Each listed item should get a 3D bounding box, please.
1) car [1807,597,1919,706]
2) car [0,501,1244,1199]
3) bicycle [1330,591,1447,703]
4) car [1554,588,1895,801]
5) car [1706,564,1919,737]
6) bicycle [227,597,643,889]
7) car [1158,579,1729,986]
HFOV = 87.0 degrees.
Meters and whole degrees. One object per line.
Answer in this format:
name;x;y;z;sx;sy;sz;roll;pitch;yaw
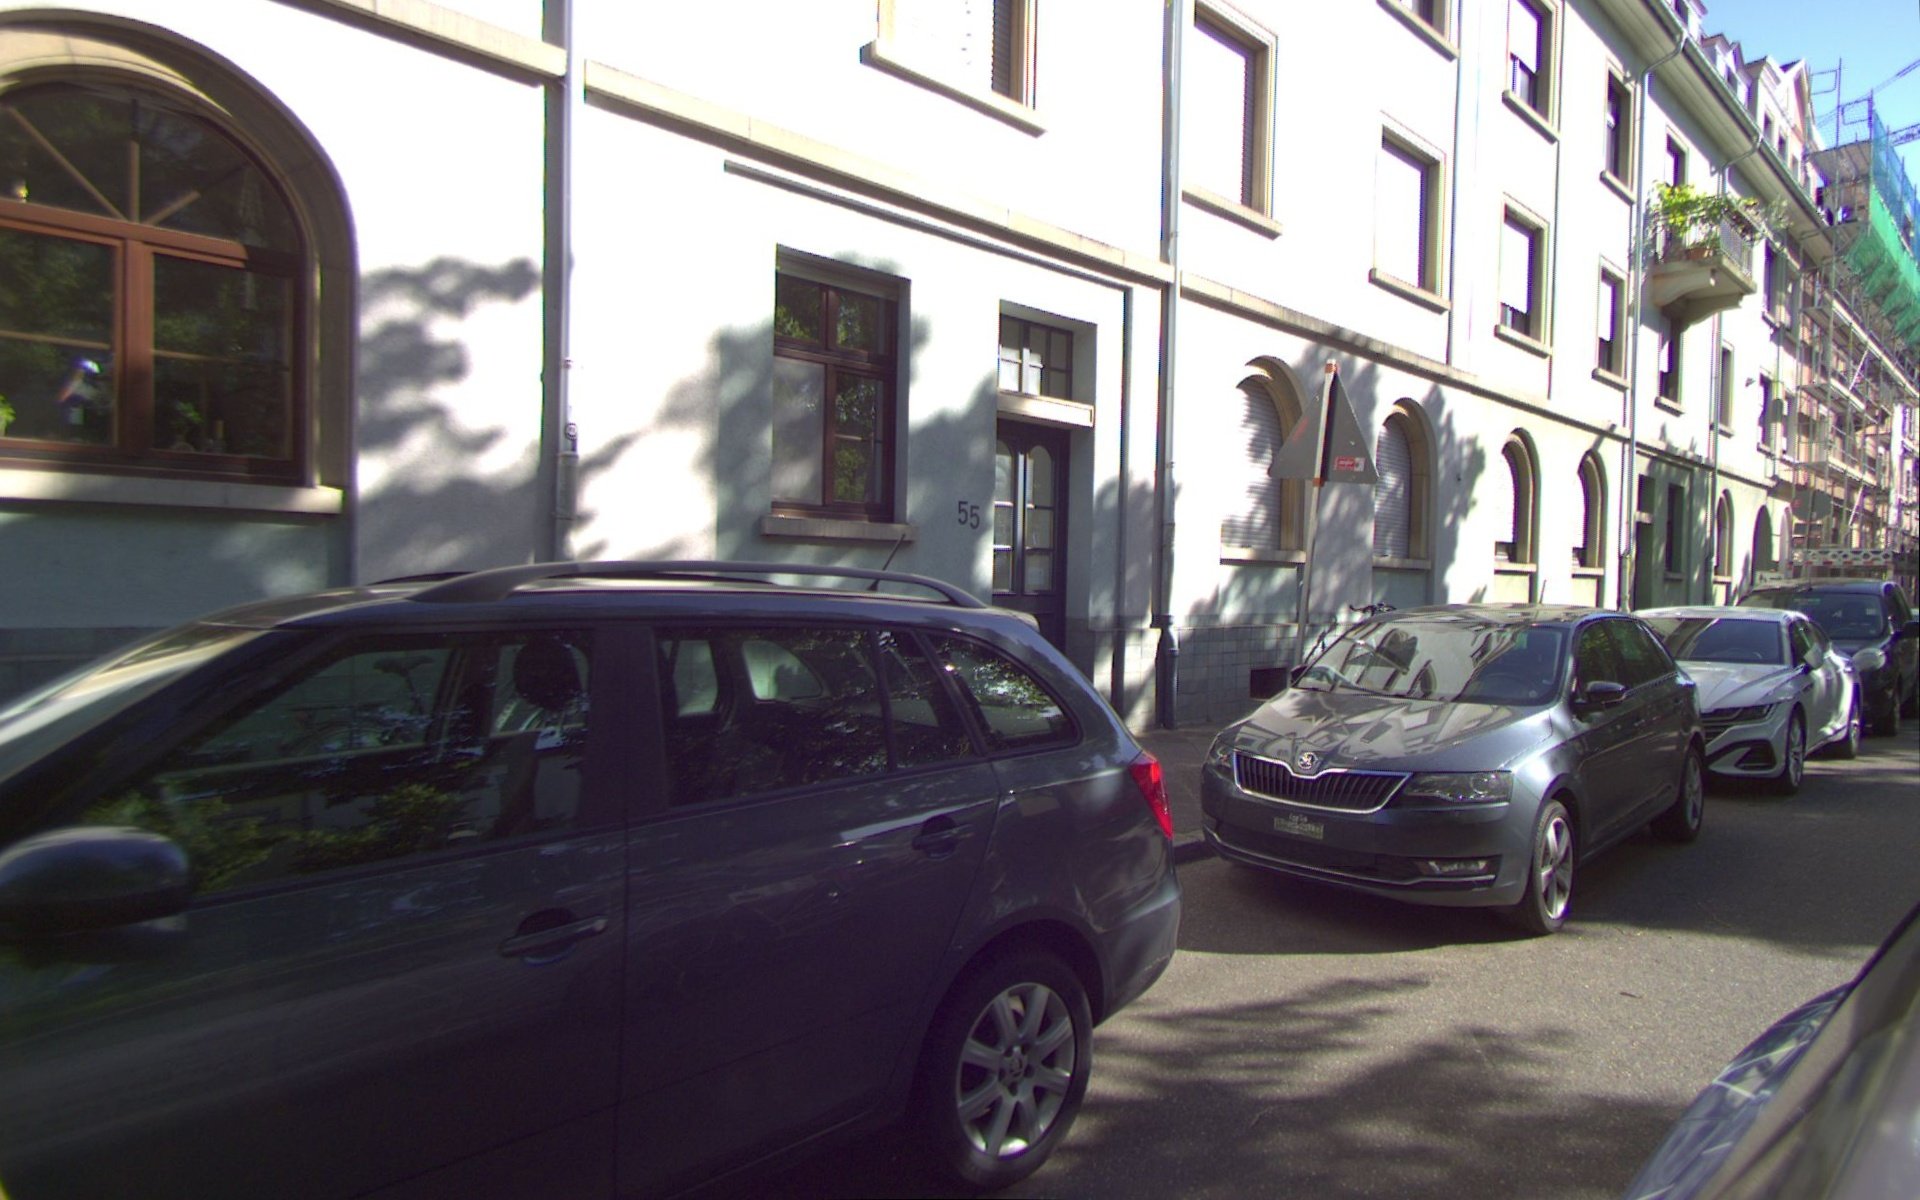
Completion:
car;15.304;0.749;16.410;4.208;1.530;1.708;0;2;-41
car;-1.186;0.639;2.366;3.969;1.570;1.584;0;1;-40
bicycle;4.949;0.499;11.611;1.948;1.196;0.395;0;1;-41
car;7.093;0.650;9.197;4.490;1.437;1.610;0;2;-42
car;11.013;0.507;12.764;3.921;1.816;1.774;0;2;-42
bicycle;-2.500;0.594;5.040;0.406;1.201;1.821;1;1;40
car;2.963;0.678;5.774;3.900;1.511;1.601;0;2;-43
